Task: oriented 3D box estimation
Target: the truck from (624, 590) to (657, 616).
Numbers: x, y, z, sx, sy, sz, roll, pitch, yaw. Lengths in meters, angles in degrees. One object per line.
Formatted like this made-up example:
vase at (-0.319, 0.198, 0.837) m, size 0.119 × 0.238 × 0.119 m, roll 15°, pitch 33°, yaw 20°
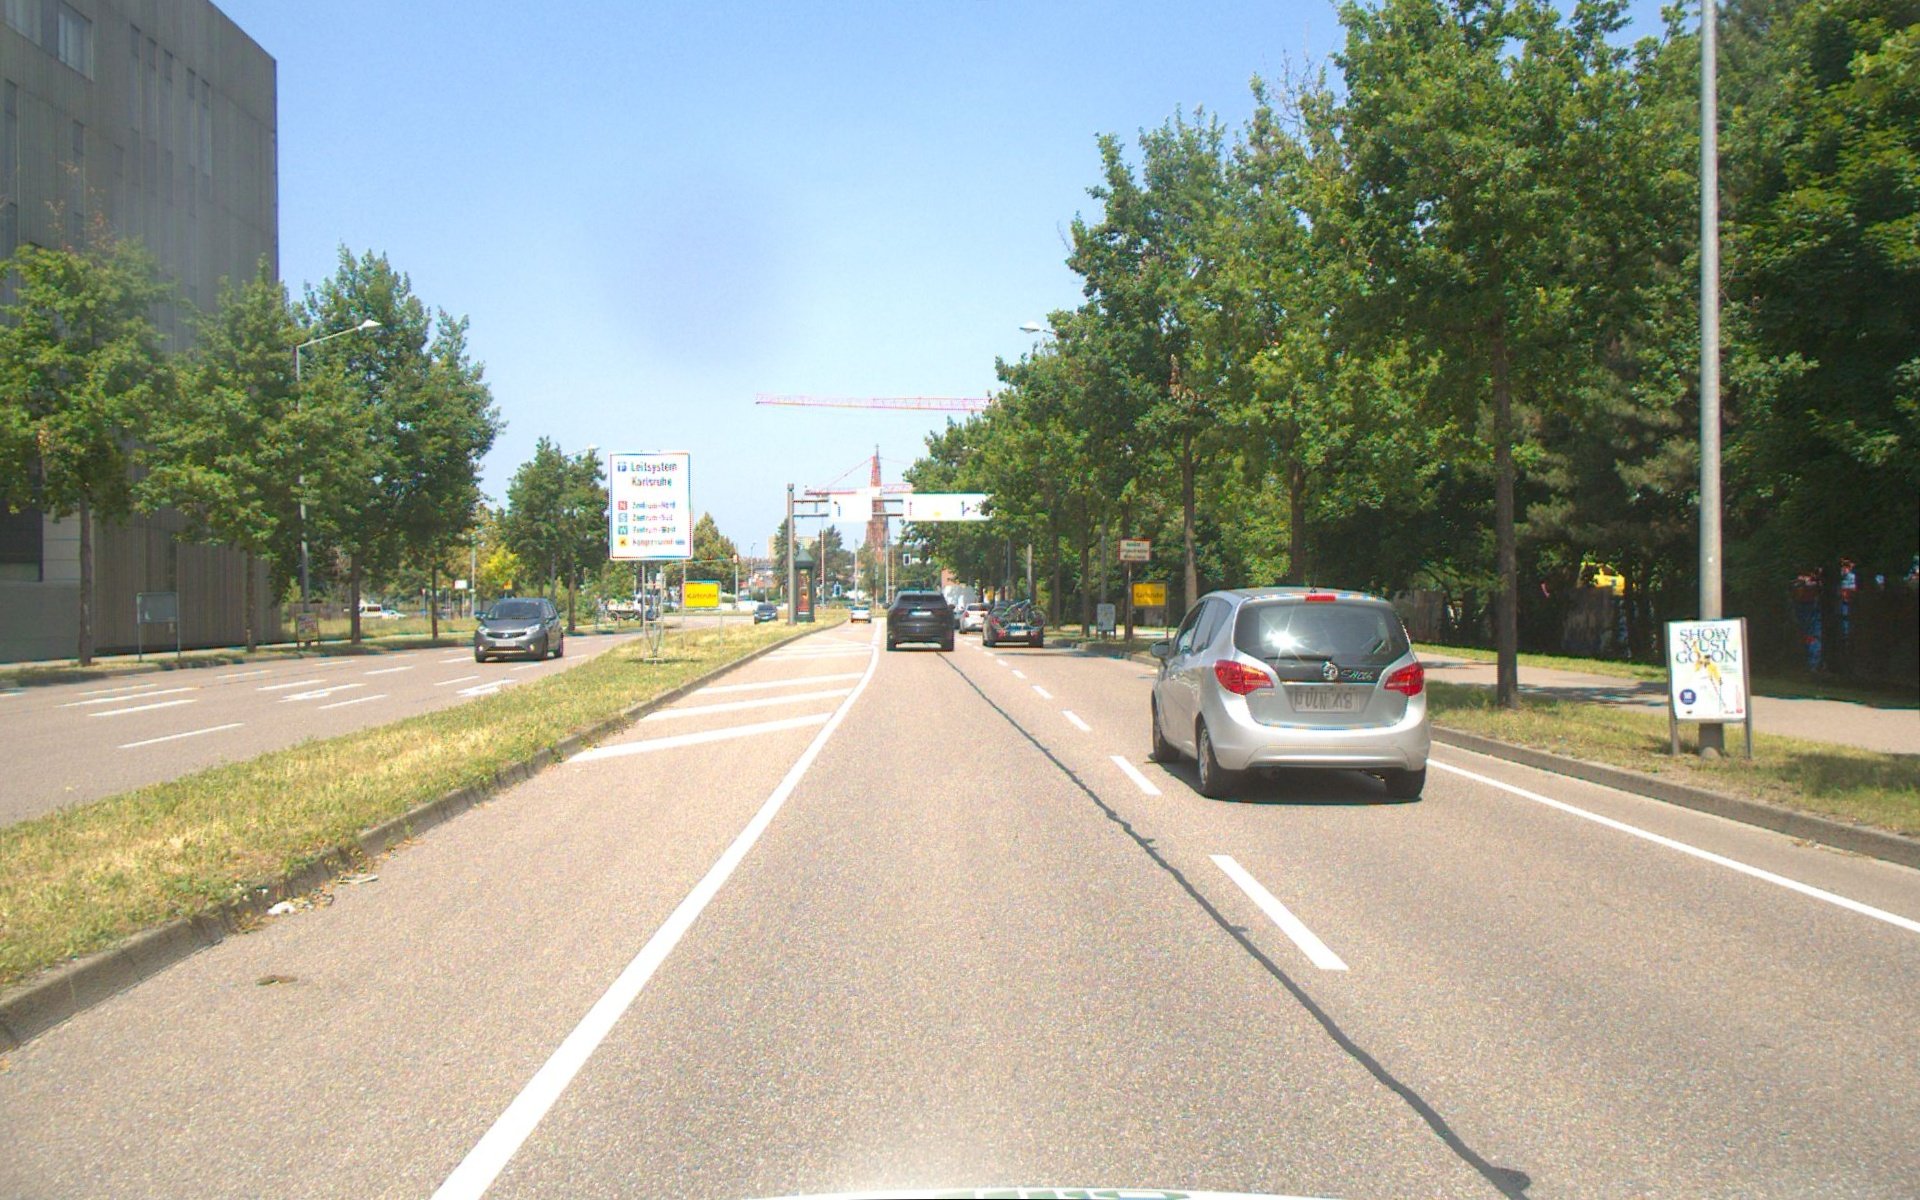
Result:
truck at (-32.758, 0.306, 169.665) m, size 2.587 × 2.621 × 6.312 m, roll 0°, pitch 0°, yaw -5°

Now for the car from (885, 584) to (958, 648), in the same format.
car at (-1.092, 0.422, 47.084) m, size 1.957 × 1.719 × 4.032 m, roll 1°, pitch 0°, yaw -1°

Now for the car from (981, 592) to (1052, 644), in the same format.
car at (1.717, 0.542, 51.795) m, size 1.973 × 1.544 × 4.460 m, roll -1°, pitch 0°, yaw -1°

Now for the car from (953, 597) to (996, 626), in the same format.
car at (0.665, 0.549, 80.794) m, size 1.622 × 1.380 × 4.455 m, roll -1°, pitch 0°, yaw -6°

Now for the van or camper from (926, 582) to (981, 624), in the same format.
van or camper at (-0.402, 0.161, 95.018) m, size 2.447 × 2.331 × 4.911 m, roll -1°, pitch 0°, yaw -9°

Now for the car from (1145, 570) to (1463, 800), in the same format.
car at (2.701, 0.606, 13.861) m, size 1.756 × 1.640 × 3.890 m, roll 1°, pitch 0°, yaw -2°

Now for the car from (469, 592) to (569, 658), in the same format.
car at (-10.859, 0.590, 40.982) m, size 1.674 × 1.497 × 3.937 m, roll -2°, pitch 0°, yaw -5°

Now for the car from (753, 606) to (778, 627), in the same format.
car at (-16.123, 1.382, 137.193) m, size 1.856 × 1.639 × 4.530 m, roll 0°, pitch 0°, yaw -5°

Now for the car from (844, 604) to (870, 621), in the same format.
car at (-8.724, 1.036, 140.340) m, size 1.956 × 1.344 × 3.994 m, roll 0°, pitch 1°, yaw -7°
